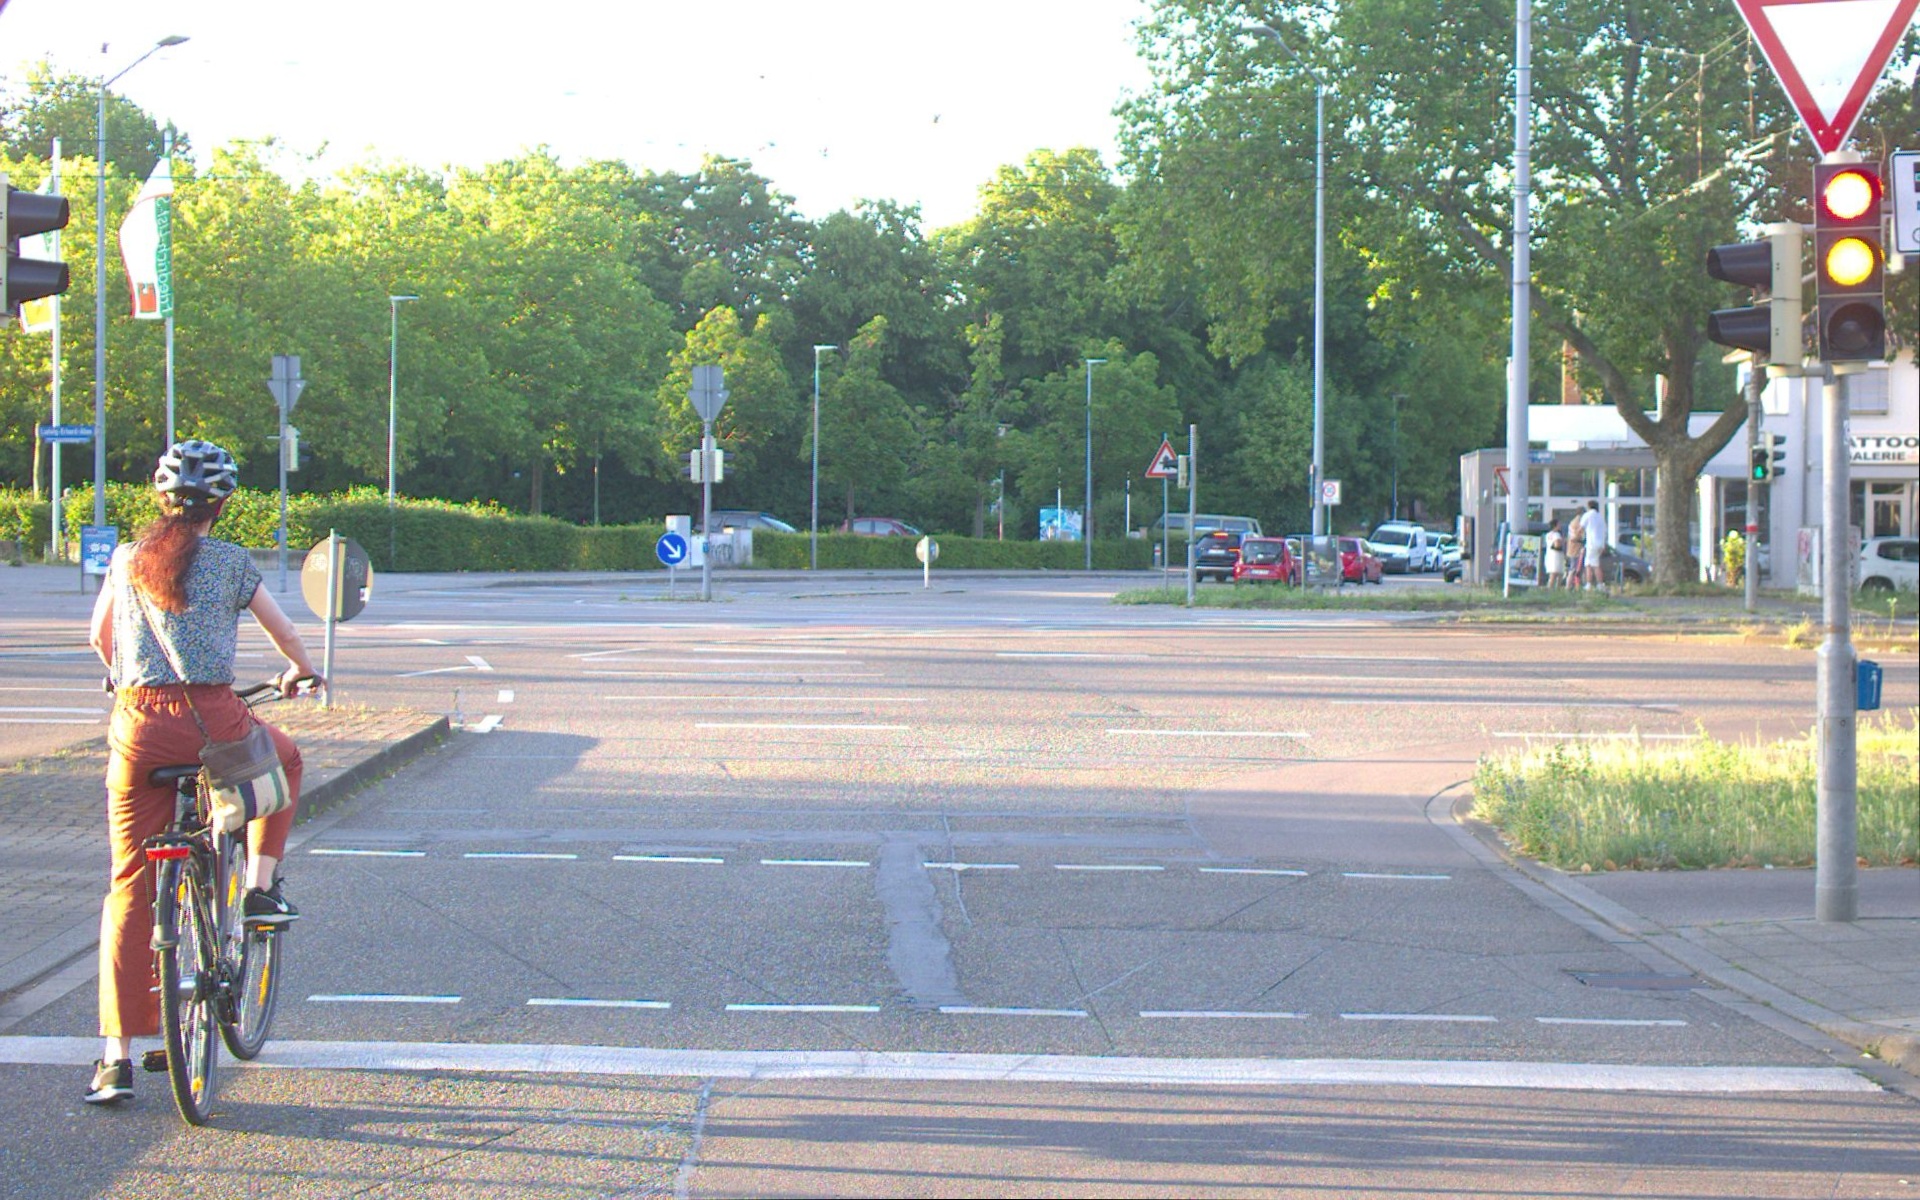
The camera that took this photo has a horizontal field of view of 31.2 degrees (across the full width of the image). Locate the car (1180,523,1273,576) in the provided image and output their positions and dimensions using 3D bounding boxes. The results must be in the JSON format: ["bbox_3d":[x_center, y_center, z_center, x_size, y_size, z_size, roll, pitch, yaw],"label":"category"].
[{"bbox_3d":[8.097,-1.503,104.099,1.757,1.535,4.396,1,0,19],"label":"car"}]

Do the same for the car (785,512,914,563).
[{"bbox_3d":[-3.491,-1.993,109.513,3.987,1.555,2.000,1,1,1],"label":"car"}]

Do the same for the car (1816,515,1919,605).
[{"bbox_3d":[20.396,-0.840,72.472,4.230,1.840,2.000,1,1,2],"label":"car"}]

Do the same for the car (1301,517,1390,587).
[{"bbox_3d":[11.604,-1.456,103.310,1.916,2.040,3.997,1,2,17],"label":"car"}]

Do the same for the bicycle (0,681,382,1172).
[{"bbox_3d":[-2.045,0.805,9.256,0.634,1.064,2.122,1,1,-1],"label":"bicycle"}]

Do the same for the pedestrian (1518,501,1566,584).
[{"bbox_3d":[11.596,-1.140,68.474,0.719,1.633,0.896,1,1,24],"label":"pedestrian"}]

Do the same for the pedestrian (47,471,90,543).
[{"bbox_3d":[-21.822,-2.274,84.122,0.894,1.748,0.721,0,1,-26],"label":"pedestrian"}]

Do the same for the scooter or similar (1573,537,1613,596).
[{"bbox_3d":[11.961,-0.640,64.978,0.510,1.086,1.243,1,1,-1],"label":"scooter or similar"}]

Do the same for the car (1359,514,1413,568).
[{"bbox_3d":[16.232,-2.263,131.169,1.994,2.007,3.999,1,1,7],"label":"car"}]

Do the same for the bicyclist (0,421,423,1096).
[{"bbox_3d":[-2.044,0.393,9.263,1.031,1.712,0.996,1,1,-1],"label":"bicyclist"}]

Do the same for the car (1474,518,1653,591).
[{"bbox_3d":[15.581,-1.197,88.960,4.378,1.828,1.948,1,1,5],"label":"car"}]

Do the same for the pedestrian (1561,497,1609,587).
[{"bbox_3d":[12.279,-1.149,67.531,0.719,1.748,0.896,1,1,24],"label":"pedestrian"}]

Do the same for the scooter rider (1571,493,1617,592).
[{"bbox_3d":[11.982,-1.091,64.972,0.702,1.848,0.669,1,0,-1],"label":"scooter rider"}]

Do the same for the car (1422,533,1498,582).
[{"bbox_3d":[16.823,-1.447,115.508,1.916,1.597,3.997,1,2,17],"label":"car"}]

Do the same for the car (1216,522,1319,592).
[{"bbox_3d":[8.591,-1.212,95.698,1.870,1.868,3.870,1,2,21],"label":"car"}]

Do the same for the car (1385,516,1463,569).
[{"bbox_3d":[18.326,-2.279,135.677,1.996,2.007,3.995,1,2,24],"label":"car"}]
